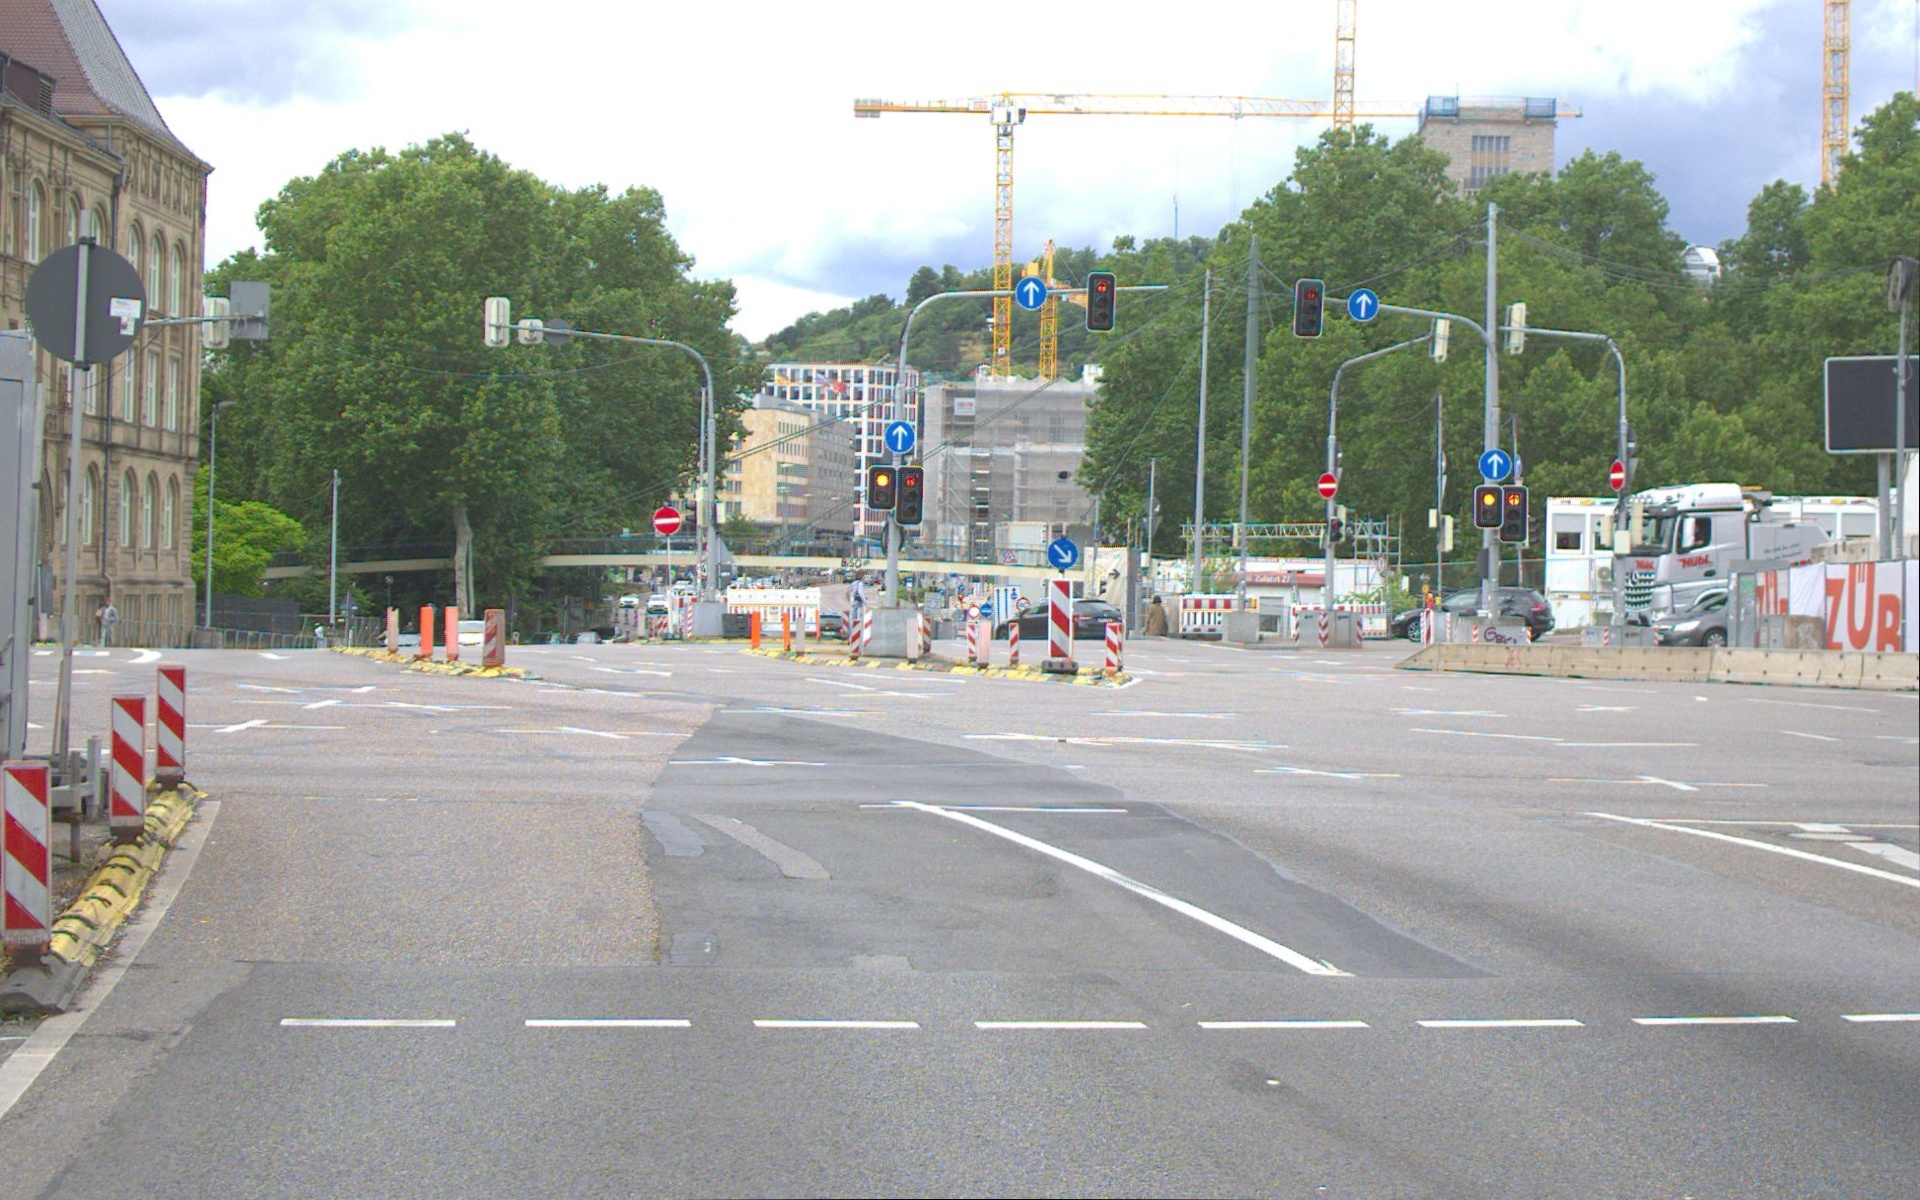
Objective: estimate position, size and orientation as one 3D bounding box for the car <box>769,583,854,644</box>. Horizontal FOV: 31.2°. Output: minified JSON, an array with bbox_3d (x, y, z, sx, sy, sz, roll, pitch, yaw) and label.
[{"bbox_3d":[-5.174,0.462,119.044,1.993,2.007,4.001,1,1,-17],"label":"car"}]

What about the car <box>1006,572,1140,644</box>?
[{"bbox_3d":[3.249,0.205,99.771,1.993,2.007,4.278,1,1,-28],"label":"car"}]

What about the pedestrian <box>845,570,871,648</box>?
[{"bbox_3d":[-2.420,0.219,81.497,0.585,1.834,0.604,1,0,-4],"label":"pedestrian"}]

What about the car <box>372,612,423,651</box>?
[{"bbox_3d":[-27.661,1.544,169.137,1.993,1.831,4.001,1,1,-3],"label":"car"}]

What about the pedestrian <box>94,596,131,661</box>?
[{"bbox_3d":[-26.671,0.892,108.210,0.950,2.007,0.766,1,0,2],"label":"pedestrian"}]

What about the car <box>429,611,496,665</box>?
[{"bbox_3d":[-17.750,1.345,122.729,1.993,1.831,4.001,1,1,-3],"label":"car"}]

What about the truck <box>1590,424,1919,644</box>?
[{"bbox_3d":[19.984,-1.497,80.990,9.712,4.943,3.114,1,0,-18],"label":"truck"}]

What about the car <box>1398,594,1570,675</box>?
[{"bbox_3d":[13.759,0.883,90.406,3.997,2.007,1.995,1,1,42],"label":"car"}]
